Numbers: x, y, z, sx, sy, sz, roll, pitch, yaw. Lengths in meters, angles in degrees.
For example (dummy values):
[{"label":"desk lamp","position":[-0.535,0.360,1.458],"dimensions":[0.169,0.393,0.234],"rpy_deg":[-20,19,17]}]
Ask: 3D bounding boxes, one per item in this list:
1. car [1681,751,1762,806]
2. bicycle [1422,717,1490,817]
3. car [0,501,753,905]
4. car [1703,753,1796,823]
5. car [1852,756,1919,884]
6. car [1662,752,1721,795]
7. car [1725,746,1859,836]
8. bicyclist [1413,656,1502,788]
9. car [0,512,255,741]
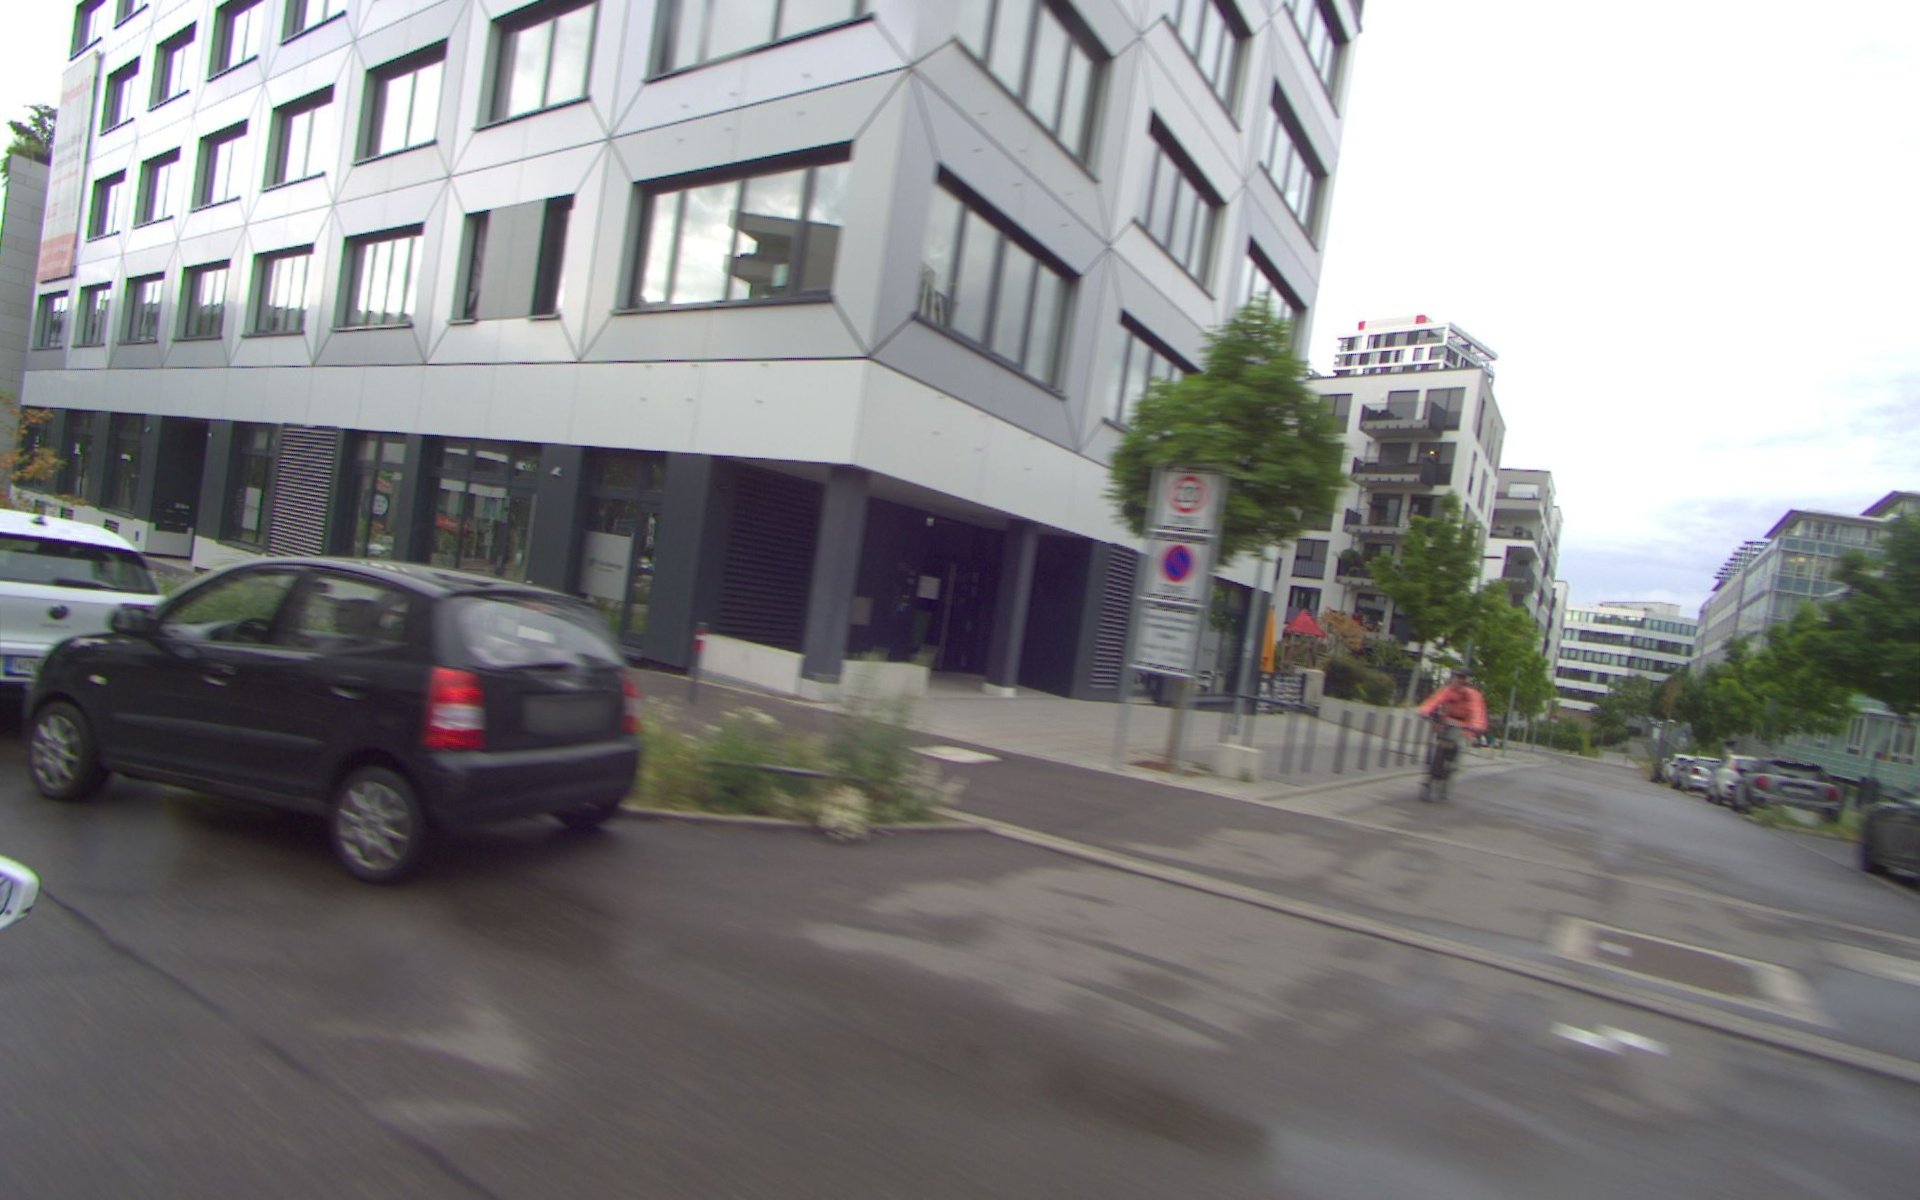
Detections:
[{"label":"car","position":[28.177,6.570,37.344],"dimensions":[1.914,1.503,3.994],"rpy_deg":[7,-2,33]},{"label":"bicycle","position":[6.280,2.071,12.823],"dimensions":[0.615,1.032,2.483],"rpy_deg":[6,-2,25]},{"label":"car","position":[-3.573,0.458,5.988],"dimensions":[3.980,1.474,2.053],"rpy_deg":[7,-3,21]},{"label":"car","position":[22.442,5.293,28.716],"dimensions":[1.593,1.521,3.614],"rpy_deg":[7,-2,33]},{"label":"car","position":[10.790,2.380,10.259],"dimensions":[1.701,1.258,4.241],"rpy_deg":[6,-4,32]},{"label":"car","position":[36.253,8.569,49.971],"dimensions":[1.968,1.658,3.994],"rpy_deg":[7,-2,33]},{"label":"car","position":[19.445,4.397,23.693],"dimensions":[1.828,1.550,3.838],"rpy_deg":[7,-2,33]},{"label":"bicyclist","position":[6.368,1.552,12.936],"dimensions":[0.825,1.519,1.077],"rpy_deg":[6,-3,24]},{"label":"car","position":[-7.908,0.034,8.085],"dimensions":[4.429,1.480,2.044],"rpy_deg":[6,-3,33]}]
